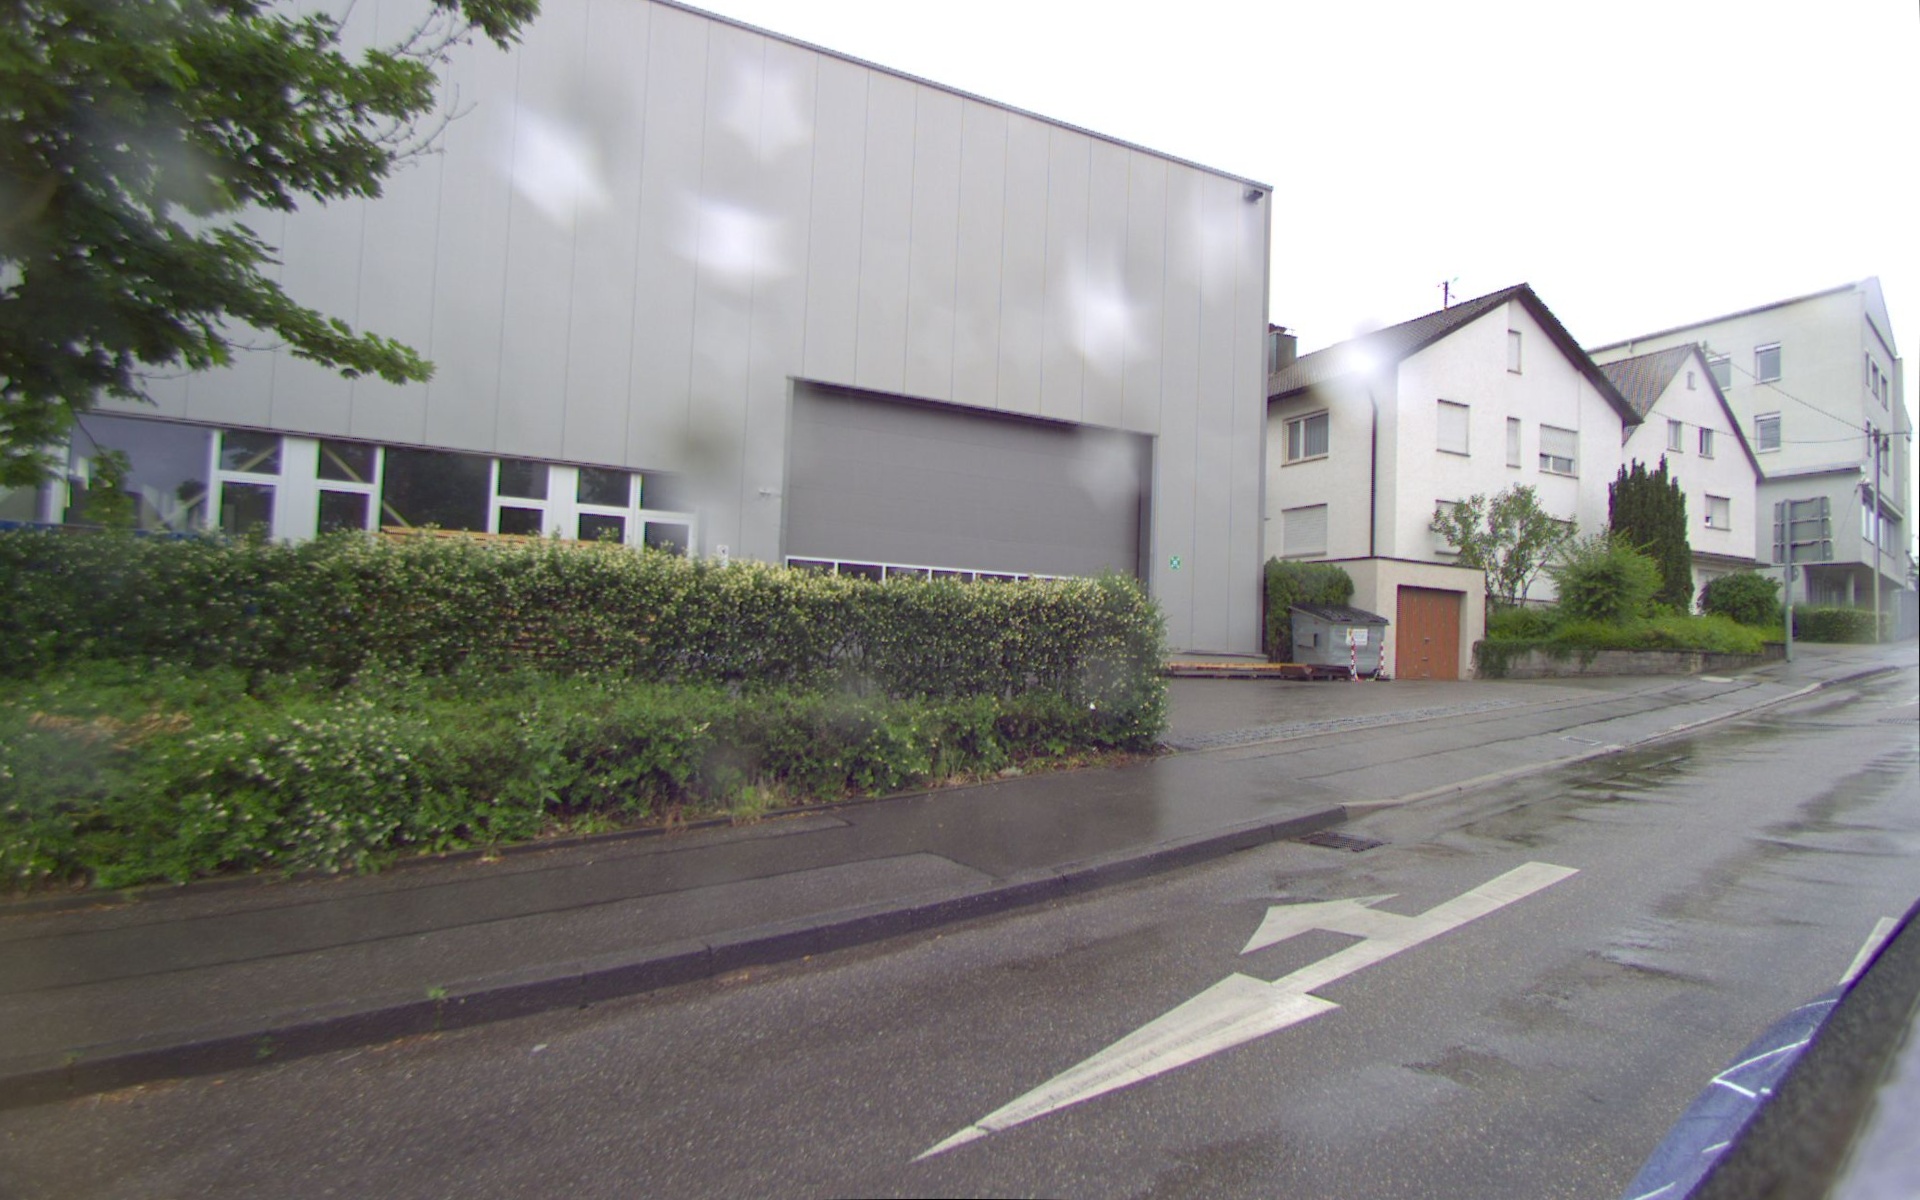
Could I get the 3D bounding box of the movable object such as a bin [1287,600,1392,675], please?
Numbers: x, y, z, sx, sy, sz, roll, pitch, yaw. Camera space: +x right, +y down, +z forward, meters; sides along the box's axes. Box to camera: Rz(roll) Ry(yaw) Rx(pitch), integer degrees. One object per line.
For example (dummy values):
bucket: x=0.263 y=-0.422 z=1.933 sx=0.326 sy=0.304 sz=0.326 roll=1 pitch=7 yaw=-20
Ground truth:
movable object such as a bin: x=8.260 y=0.810 z=22.052 sx=1.556 sy=1.555 sz=1.451 roll=2 pitch=-1 yaw=-25
